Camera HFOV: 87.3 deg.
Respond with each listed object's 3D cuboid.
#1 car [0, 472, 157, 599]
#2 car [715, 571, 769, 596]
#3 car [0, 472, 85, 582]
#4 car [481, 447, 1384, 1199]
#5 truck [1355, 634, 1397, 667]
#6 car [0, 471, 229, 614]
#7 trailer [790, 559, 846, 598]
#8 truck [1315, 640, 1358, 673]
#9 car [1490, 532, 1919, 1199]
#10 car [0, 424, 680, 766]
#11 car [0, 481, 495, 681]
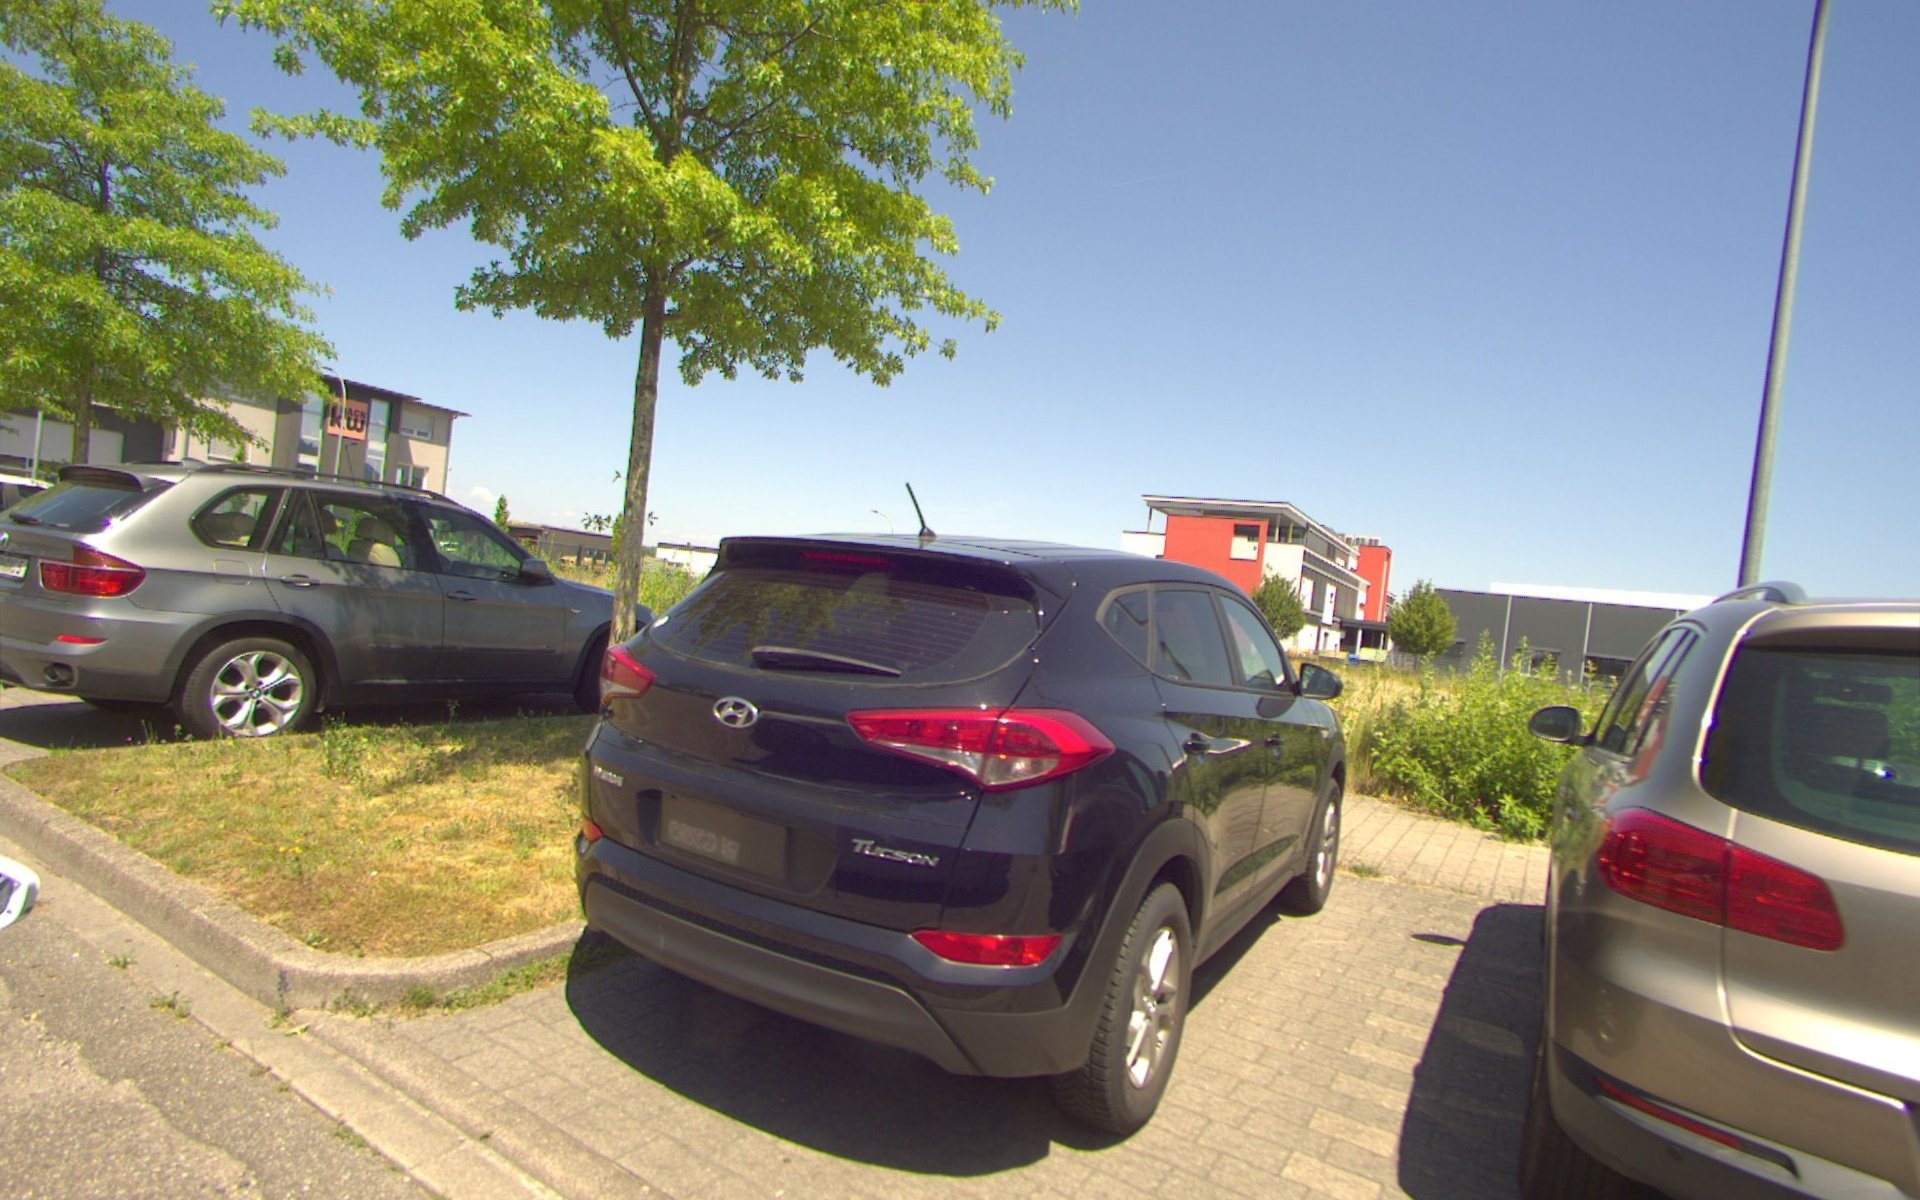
[{"bbox_3d":[-14.094,-1.025,14.112,1.807,1.665,3.990,7,1,31],"label":"car"},{"bbox_3d":[-15.978,-1.209,73.893,1.650,1.401,3.633,9,1,32],"label":"car"},{"bbox_3d":[-16.335,-1.294,15.218,1.820,1.665,4.281,7,2,32],"label":"car"},{"bbox_3d":[0.469,0.582,4.280,1.752,1.718,4.176,7,2,31],"label":"car"},{"bbox_3d":[29.691,3.619,71.712,1.966,2.039,3.991,7,1,31],"label":"truck"},{"bbox_3d":[-12.079,-0.790,12.782,1.870,1.628,4.069,6,1,33],"label":"car"},{"bbox_3d":[-11.442,-1.739,81.264,2.195,2.633,3.992,7,1,30],"label":"trailer"},{"bbox_3d":[27.212,4.091,72.604,1.966,2.038,4.348,7,0,31],"label":"truck"},{"bbox_3d":[2.858,0.878,3.169,1.753,1.700,3.876,7,2,32],"label":"car"},{"bbox_3d":[-4.564,-0.035,7.717,1.959,1.791,4.453,7,2,30],"label":"car"},{"bbox_3d":[-6.690,-0.113,9.268,1.878,1.427,3.925,6,0,31],"label":"car"}]
